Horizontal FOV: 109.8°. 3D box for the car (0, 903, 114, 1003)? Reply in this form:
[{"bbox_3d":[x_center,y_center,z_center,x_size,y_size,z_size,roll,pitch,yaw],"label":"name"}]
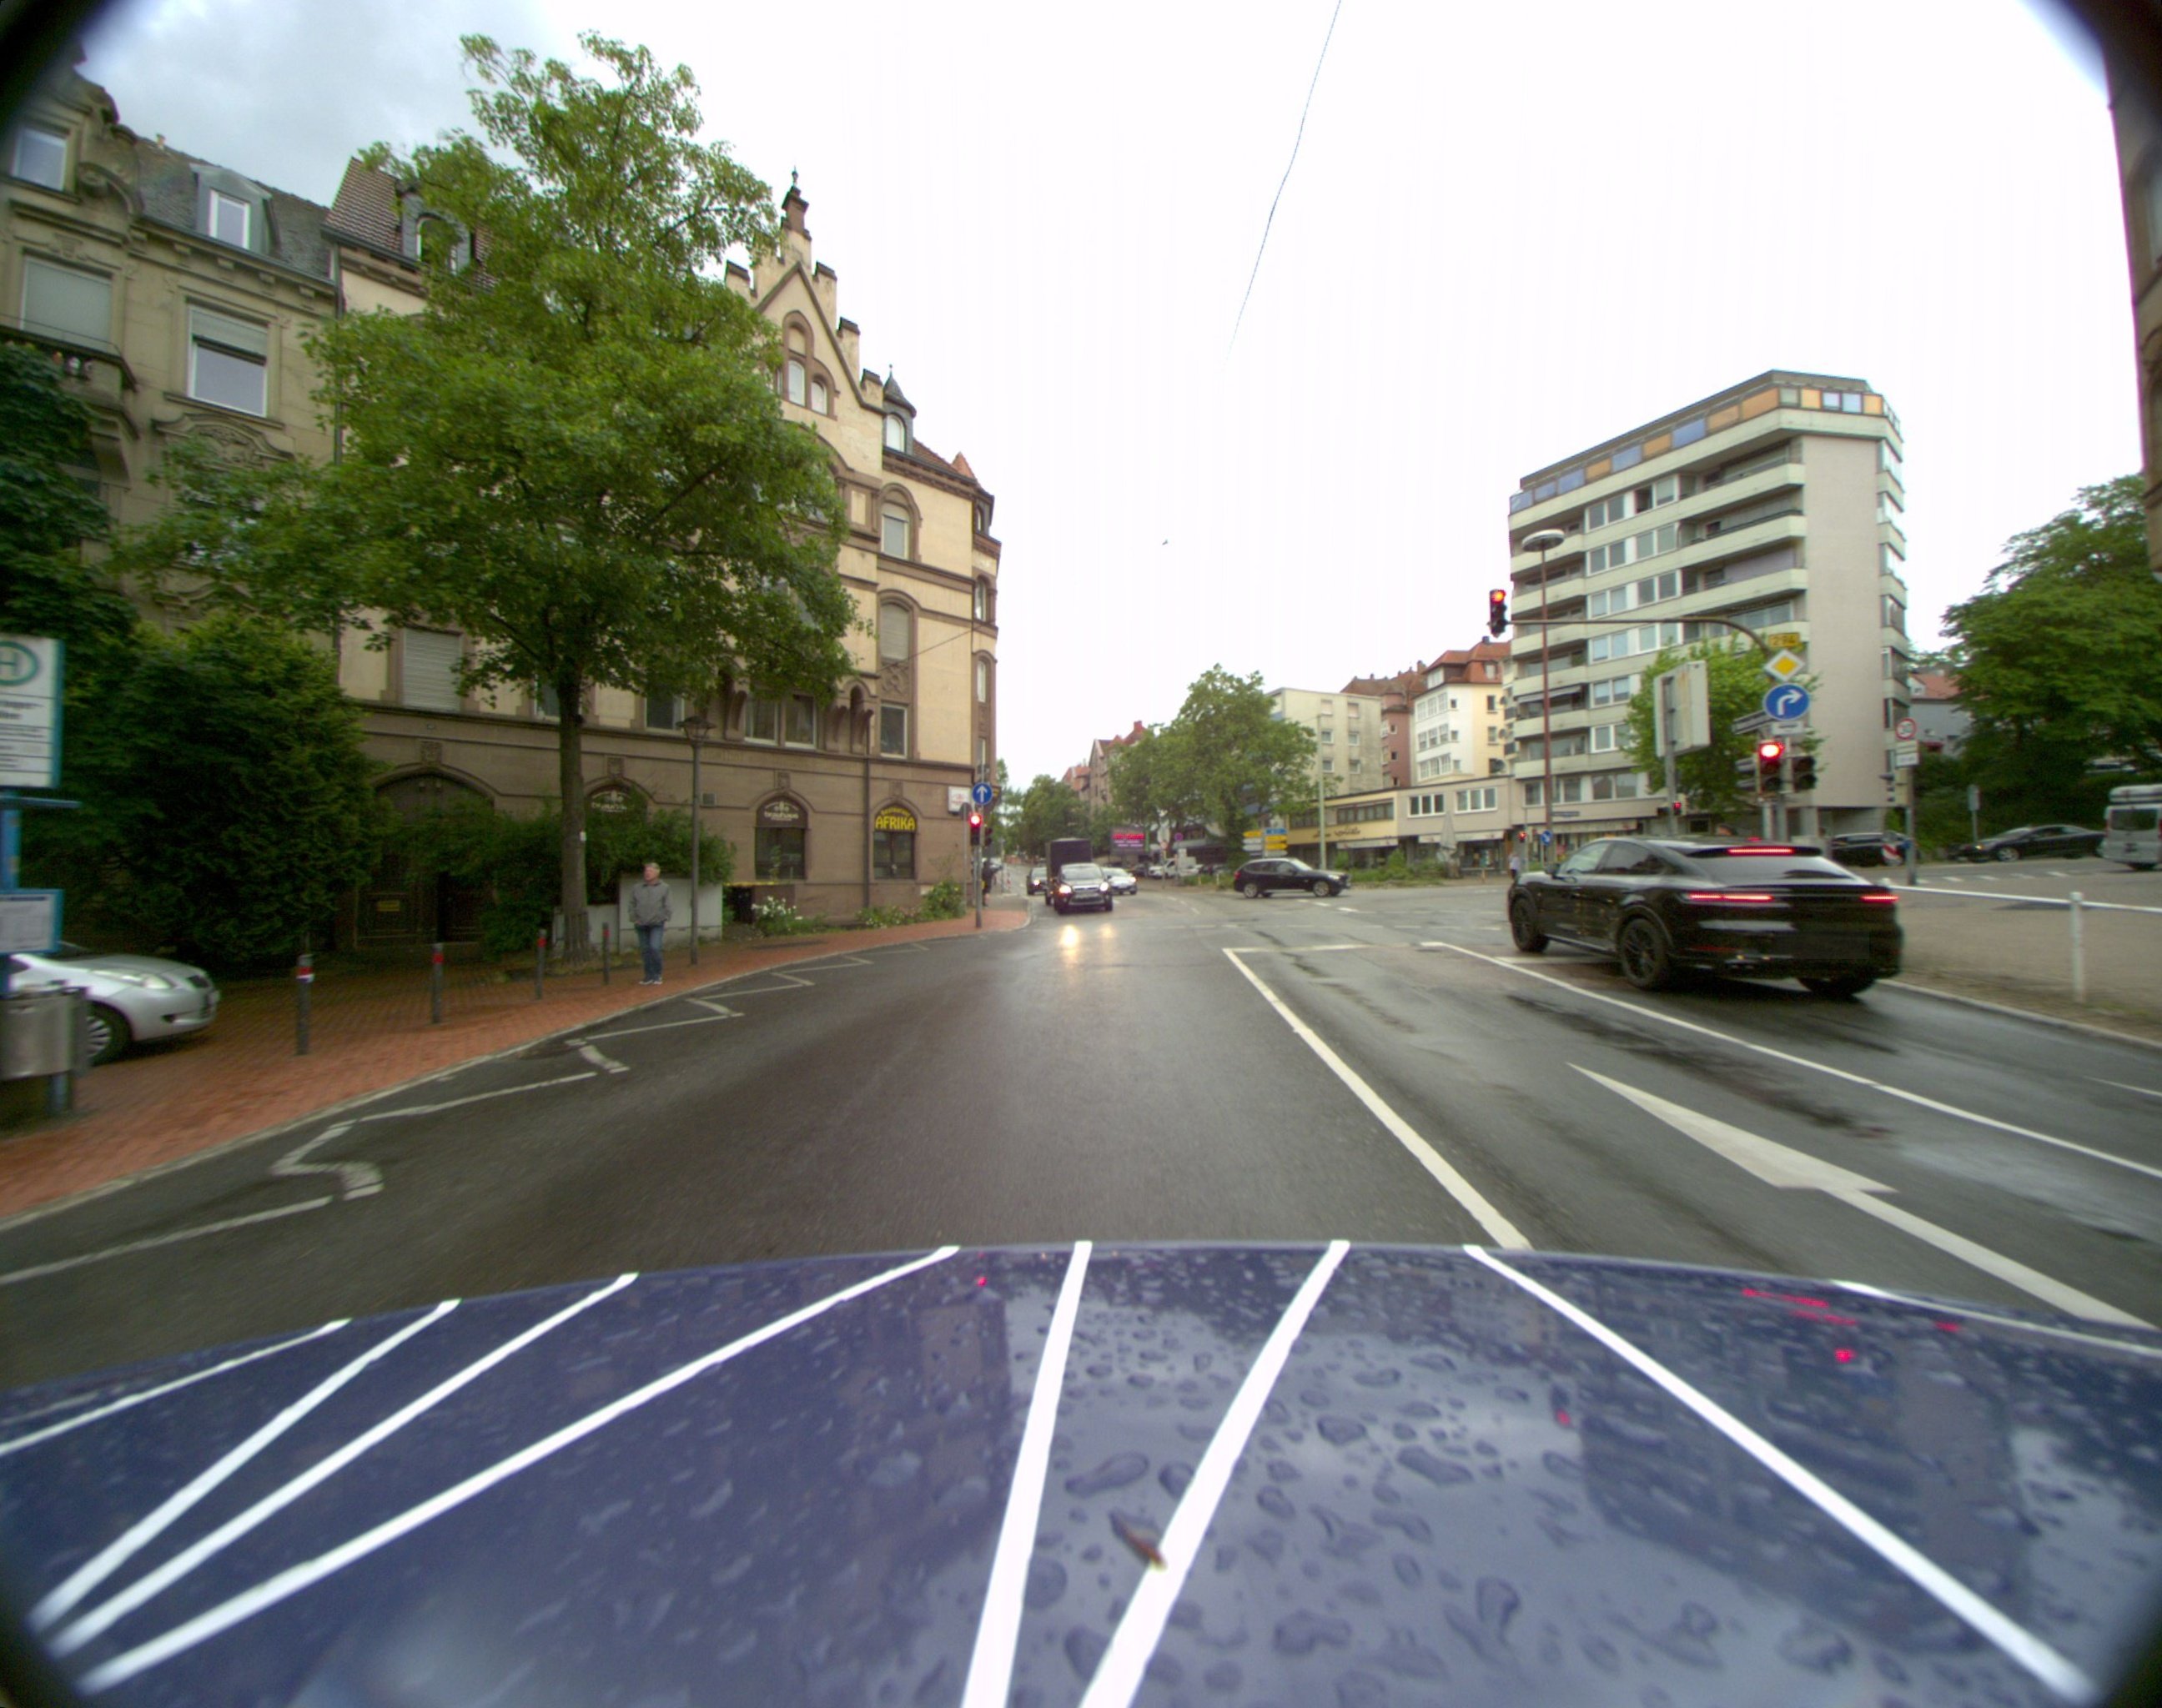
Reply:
[{"bbox_3d":[-17.788,1.621,11.274,1.768,1.467,3.856,-3,0,22],"label":"car"}]

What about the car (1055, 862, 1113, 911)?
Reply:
[{"bbox_3d":[0.171,1.065,26.131,1.862,1.503,3.683,-1,0,2],"label":"car"}]

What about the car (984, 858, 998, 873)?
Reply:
[{"bbox_3d":[-10.635,1.351,89.772,1.527,1.609,3.490,3,1,-9],"label":"car"}]

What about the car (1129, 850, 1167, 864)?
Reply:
[{"bbox_3d":[7.377,0.352,83.167,3.842,1.397,1.687,-2,1,-30],"label":"car"}]

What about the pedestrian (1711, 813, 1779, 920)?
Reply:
[{"bbox_3d":[11.355,0.214,13.010,0.523,1.763,0.694,-3,0,6],"label":"pedestrian"}]

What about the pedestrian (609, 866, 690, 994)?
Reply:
[{"bbox_3d":[-6.134,1.060,10.829,0.572,1.723,0.733,-3,0,27],"label":"pedestrian"}]

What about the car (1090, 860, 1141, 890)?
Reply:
[{"bbox_3d":[1.796,1.124,40.832,1.758,1.474,4.177,-2,-1,-11],"label":"car"}]

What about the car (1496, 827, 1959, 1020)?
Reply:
[{"bbox_3d":[6.995,0.580,9.118,1.968,1.683,4.810,-1,1,8],"label":"car"}]

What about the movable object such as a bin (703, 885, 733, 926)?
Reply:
[{"bbox_3d":[-9.798,1.390,20.503,0.560,1.059,0.541,-3,0,-42],"label":"movable object such as a bin"}]

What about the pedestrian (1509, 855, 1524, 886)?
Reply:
[{"bbox_3d":[23.831,0.896,41.566,0.618,1.683,0.626,-1,1,35],"label":"pedestrian"}]

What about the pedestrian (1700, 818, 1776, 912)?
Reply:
[{"bbox_3d":[12.355,0.200,14.312,0.638,1.692,0.829,-3,0,2],"label":"pedestrian"}]

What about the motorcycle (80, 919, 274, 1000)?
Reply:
[{"bbox_3d":[-16.567,1.889,14.027,0.553,1.181,2.202,-3,0,22],"label":"motorcycle"}]

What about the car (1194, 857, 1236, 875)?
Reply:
[{"bbox_3d":[12.109,1.047,68.505,3.628,1.408,1.626,-3,1,-38],"label":"car"}]

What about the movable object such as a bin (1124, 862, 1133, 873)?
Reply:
[{"bbox_3d":[4.665,1.334,74.717,0.644,1.073,0.627,-2,1,-12],"label":"movable object such as a bin"}]

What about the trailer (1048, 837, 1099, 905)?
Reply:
[{"bbox_3d":[-0.348,0.694,32.529,1.938,2.621,4.683,-2,0,-1],"label":"trailer"}]

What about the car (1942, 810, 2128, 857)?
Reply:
[{"bbox_3d":[36.161,-0.730,28.953,4.015,1.482,1.770,-3,-2,22],"label":"car"}]

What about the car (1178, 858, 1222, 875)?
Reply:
[{"bbox_3d":[11.038,1.134,70.509,3.711,1.408,1.807,-3,1,-34],"label":"car"}]

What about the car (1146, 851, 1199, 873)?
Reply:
[{"bbox_3d":[9.080,0.798,75.293,4.983,1.966,1.876,-3,1,-29],"label":"car"}]

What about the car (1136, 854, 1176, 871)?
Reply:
[{"bbox_3d":[7.925,0.880,80.211,3.841,1.680,1.802,-2,1,-27],"label":"car"}]

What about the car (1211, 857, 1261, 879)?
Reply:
[{"bbox_3d":[13.554,1.206,66.261,4.224,1.633,1.936,-3,1,-38],"label":"car"}]

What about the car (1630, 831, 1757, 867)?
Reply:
[{"bbox_3d":[29.464,-0.219,36.714,4.383,1.482,1.917,-3,0,22],"label":"car"}]

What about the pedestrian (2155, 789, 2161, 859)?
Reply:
[{"bbox_3d":[25.848,-0.732,17.651,0.670,1.651,0.783,-3,0,-6],"label":"pedestrian"}]

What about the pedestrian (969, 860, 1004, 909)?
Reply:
[{"bbox_3d":[-3.336,1.049,26.739,0.832,1.669,0.891,0,0,-43],"label":"pedestrian"}]

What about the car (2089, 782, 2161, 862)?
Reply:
[{"bbox_3d":[31.887,-0.990,20.819,4.794,2.156,2.003,-3,0,19],"label":"car"}]

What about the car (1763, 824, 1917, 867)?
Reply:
[{"bbox_3d":[30.762,-0.293,30.968,4.015,1.482,1.770,-3,-2,22],"label":"car"}]

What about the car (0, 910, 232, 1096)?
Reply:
[{"bbox_3d":[-10.494,1.426,6.734,3.681,1.493,1.767,-4,0,-41],"label":"car"}]

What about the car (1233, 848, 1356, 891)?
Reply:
[{"bbox_3d":[8.259,0.619,29.512,4.204,1.526,1.761,-3,-1,36],"label":"car"}]
